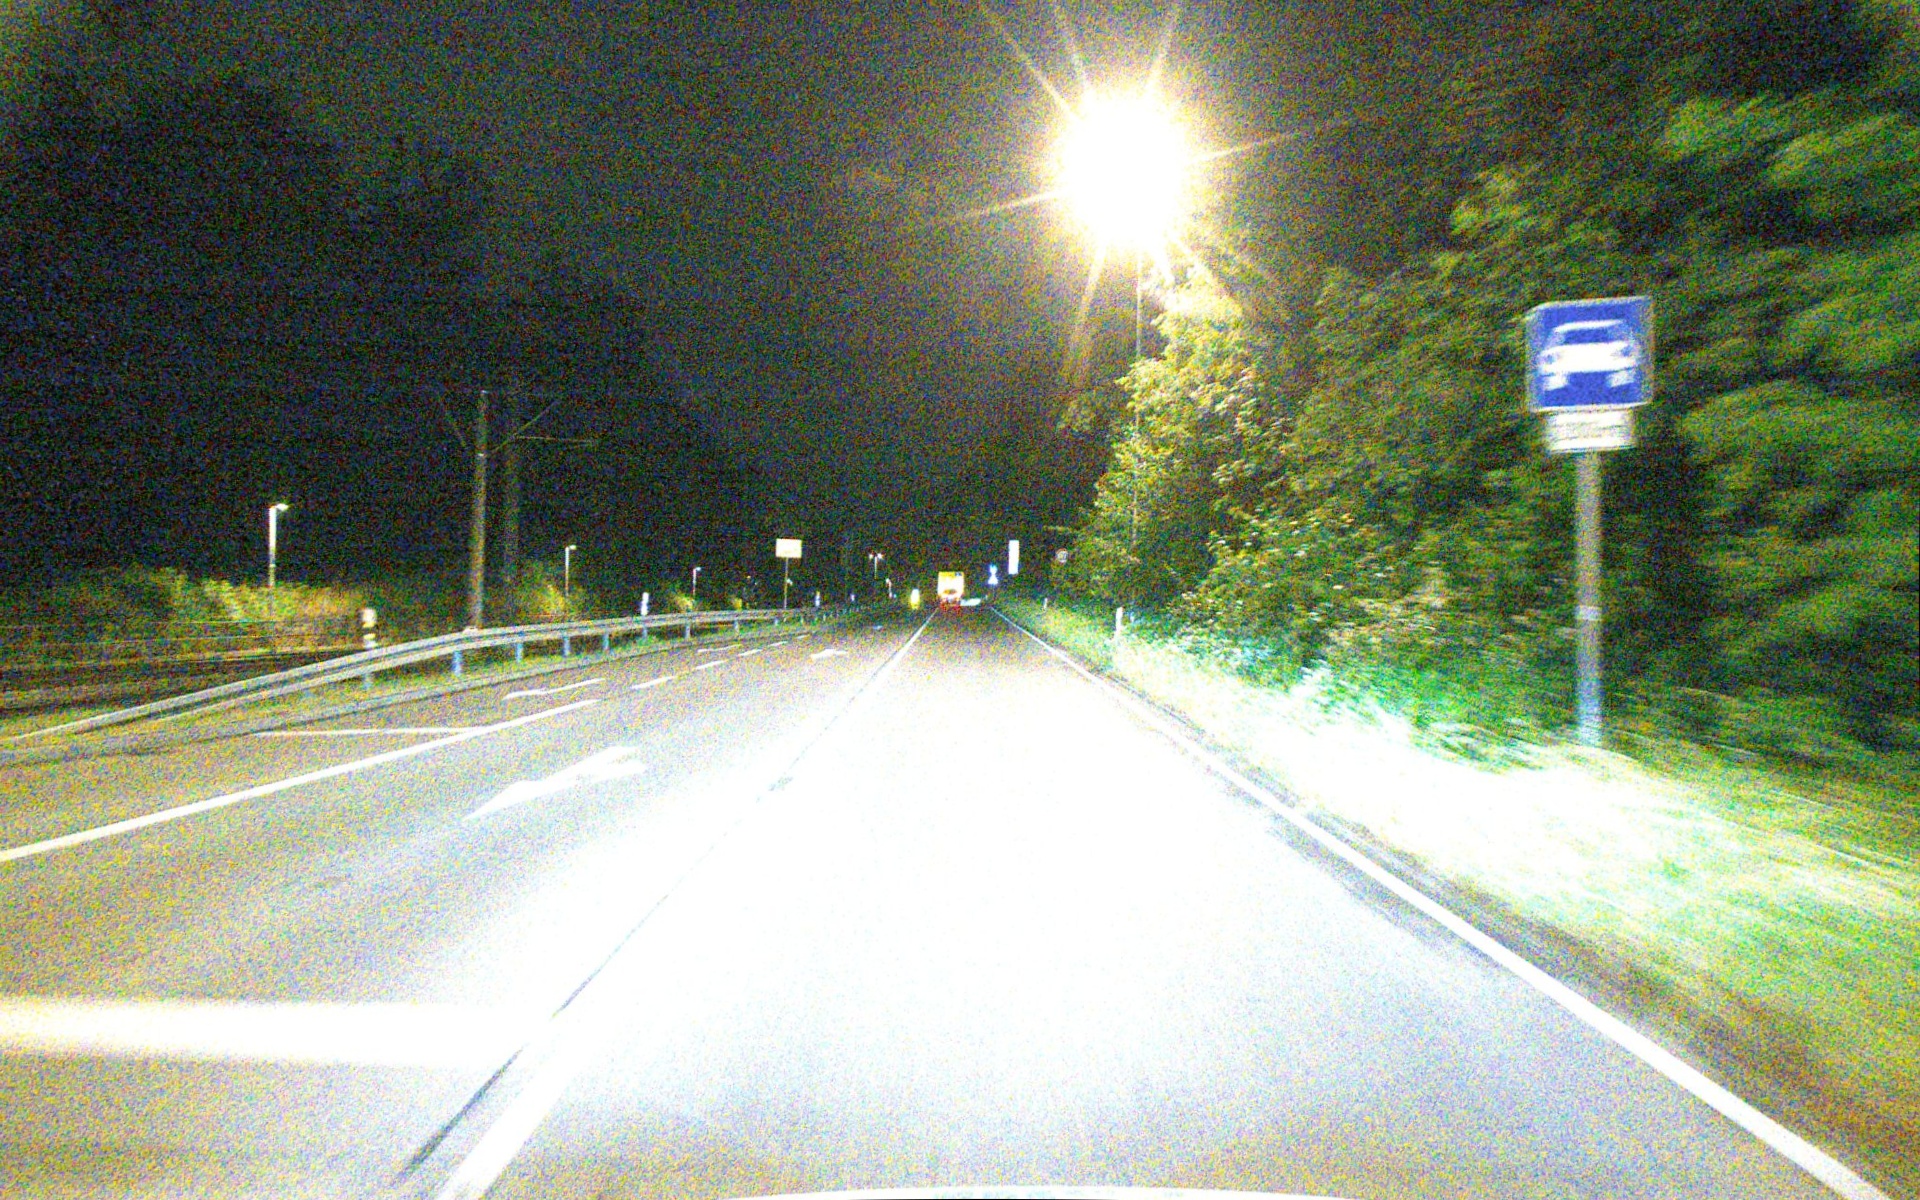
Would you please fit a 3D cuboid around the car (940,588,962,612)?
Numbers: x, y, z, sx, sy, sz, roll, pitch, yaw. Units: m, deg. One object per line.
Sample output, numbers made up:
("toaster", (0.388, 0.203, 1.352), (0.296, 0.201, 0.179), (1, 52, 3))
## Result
("car", (-0.902, 0.022, 156.273), (1.953, 2.049, 3.998), (2, -3, -1))
